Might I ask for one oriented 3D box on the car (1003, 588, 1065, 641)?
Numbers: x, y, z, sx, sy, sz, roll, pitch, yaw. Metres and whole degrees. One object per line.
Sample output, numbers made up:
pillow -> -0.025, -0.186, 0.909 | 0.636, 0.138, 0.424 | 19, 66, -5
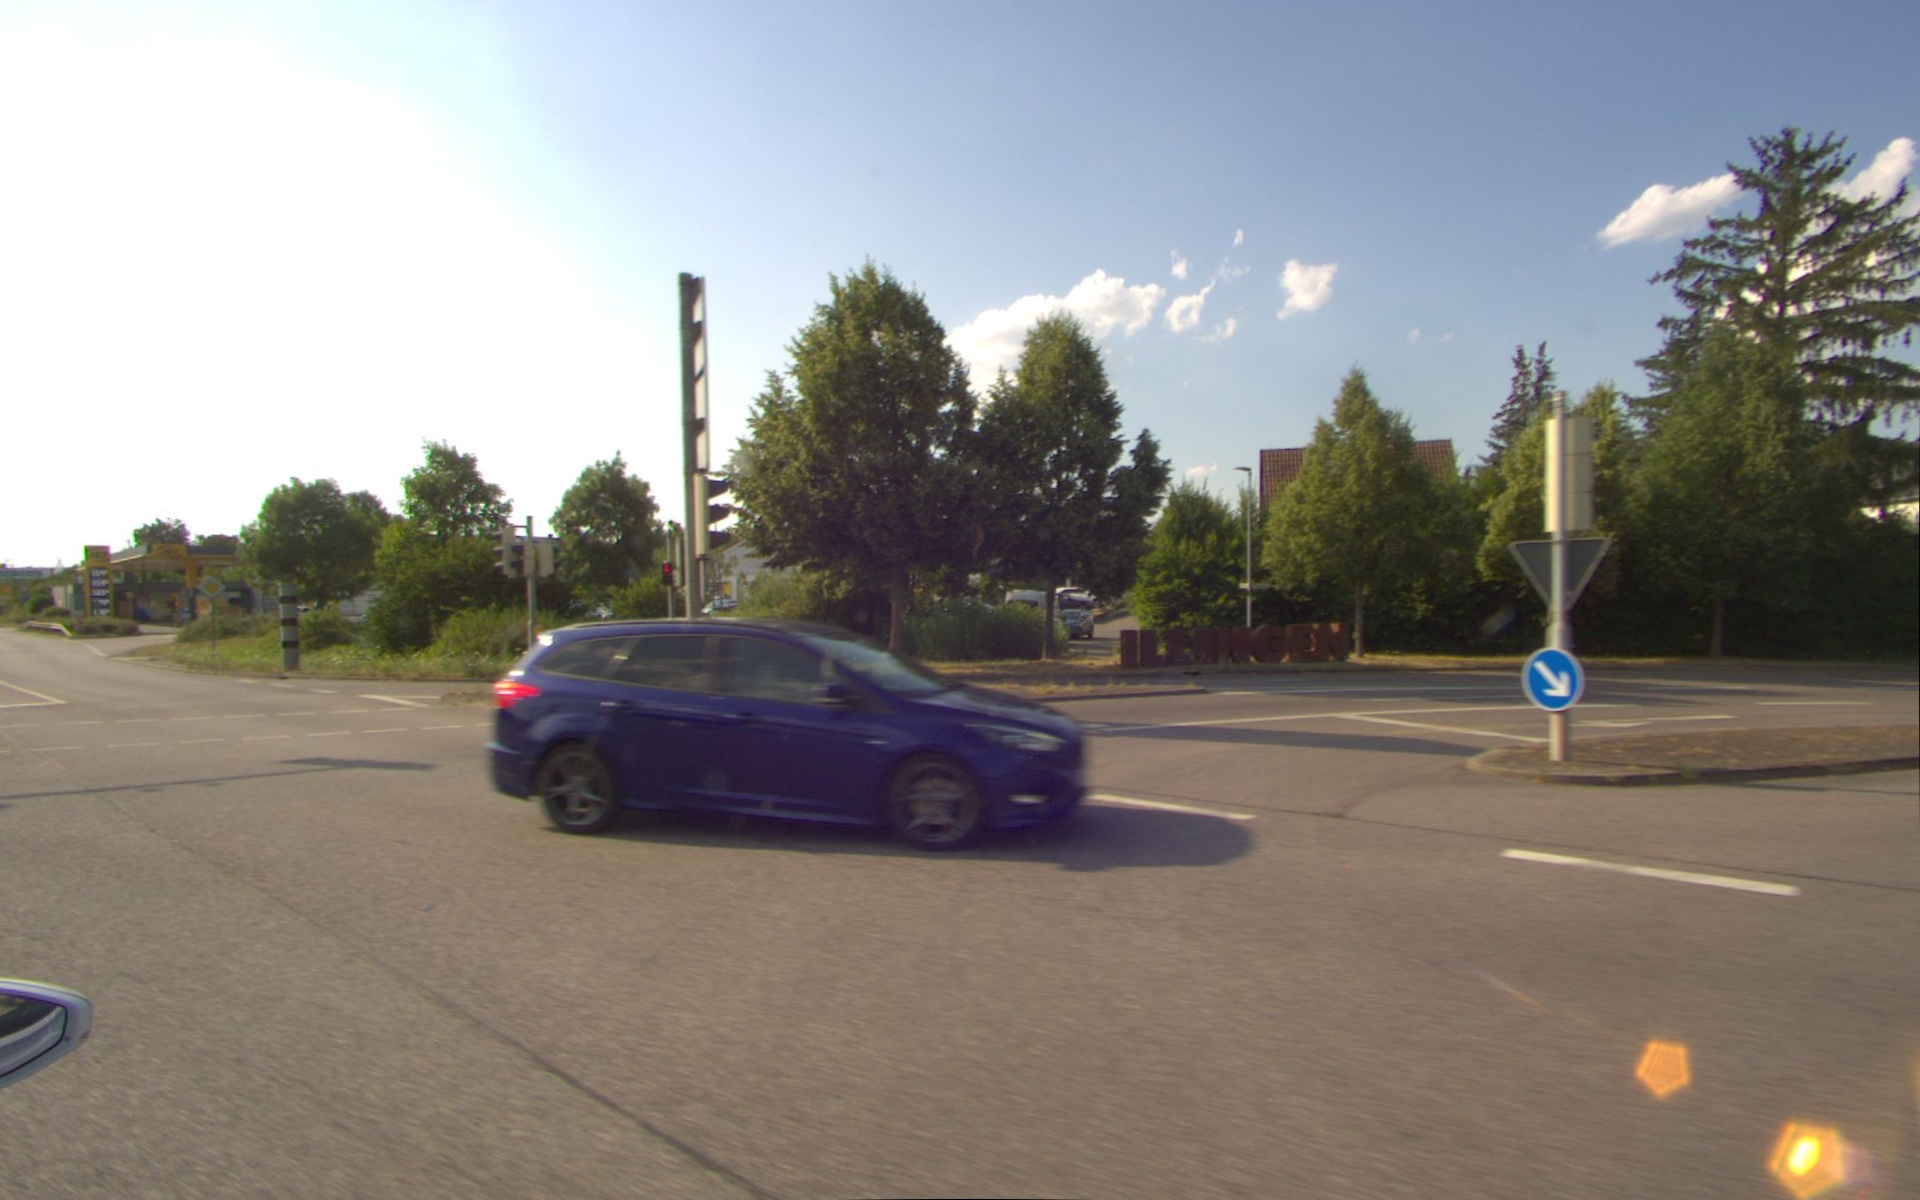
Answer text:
car -> 3.785, 0.776, 50.389 | 1.964, 2.538, 5.133 | -1, -2, 18

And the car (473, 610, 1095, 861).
car -> -1.220, 0.884, 7.489 | 4.223, 1.516, 1.792 | -1, -2, 15

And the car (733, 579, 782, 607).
car -> -15.810, -0.535, 78.439 | 2.275, 2.039, 3.998 | -1, -2, 14

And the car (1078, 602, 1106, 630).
car -> 10.072, 1.232, 76.240 | 1.962, 2.039, 4.000 | -1, -2, 9

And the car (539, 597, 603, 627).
car -> -27.610, 0.884, 71.268 | 1.931, 2.039, 4.654 | -1, -2, 15

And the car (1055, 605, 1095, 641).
car -> 6.654, 1.338, 57.484 | 1.427, 1.978, 3.994 | -1, -2, 19
